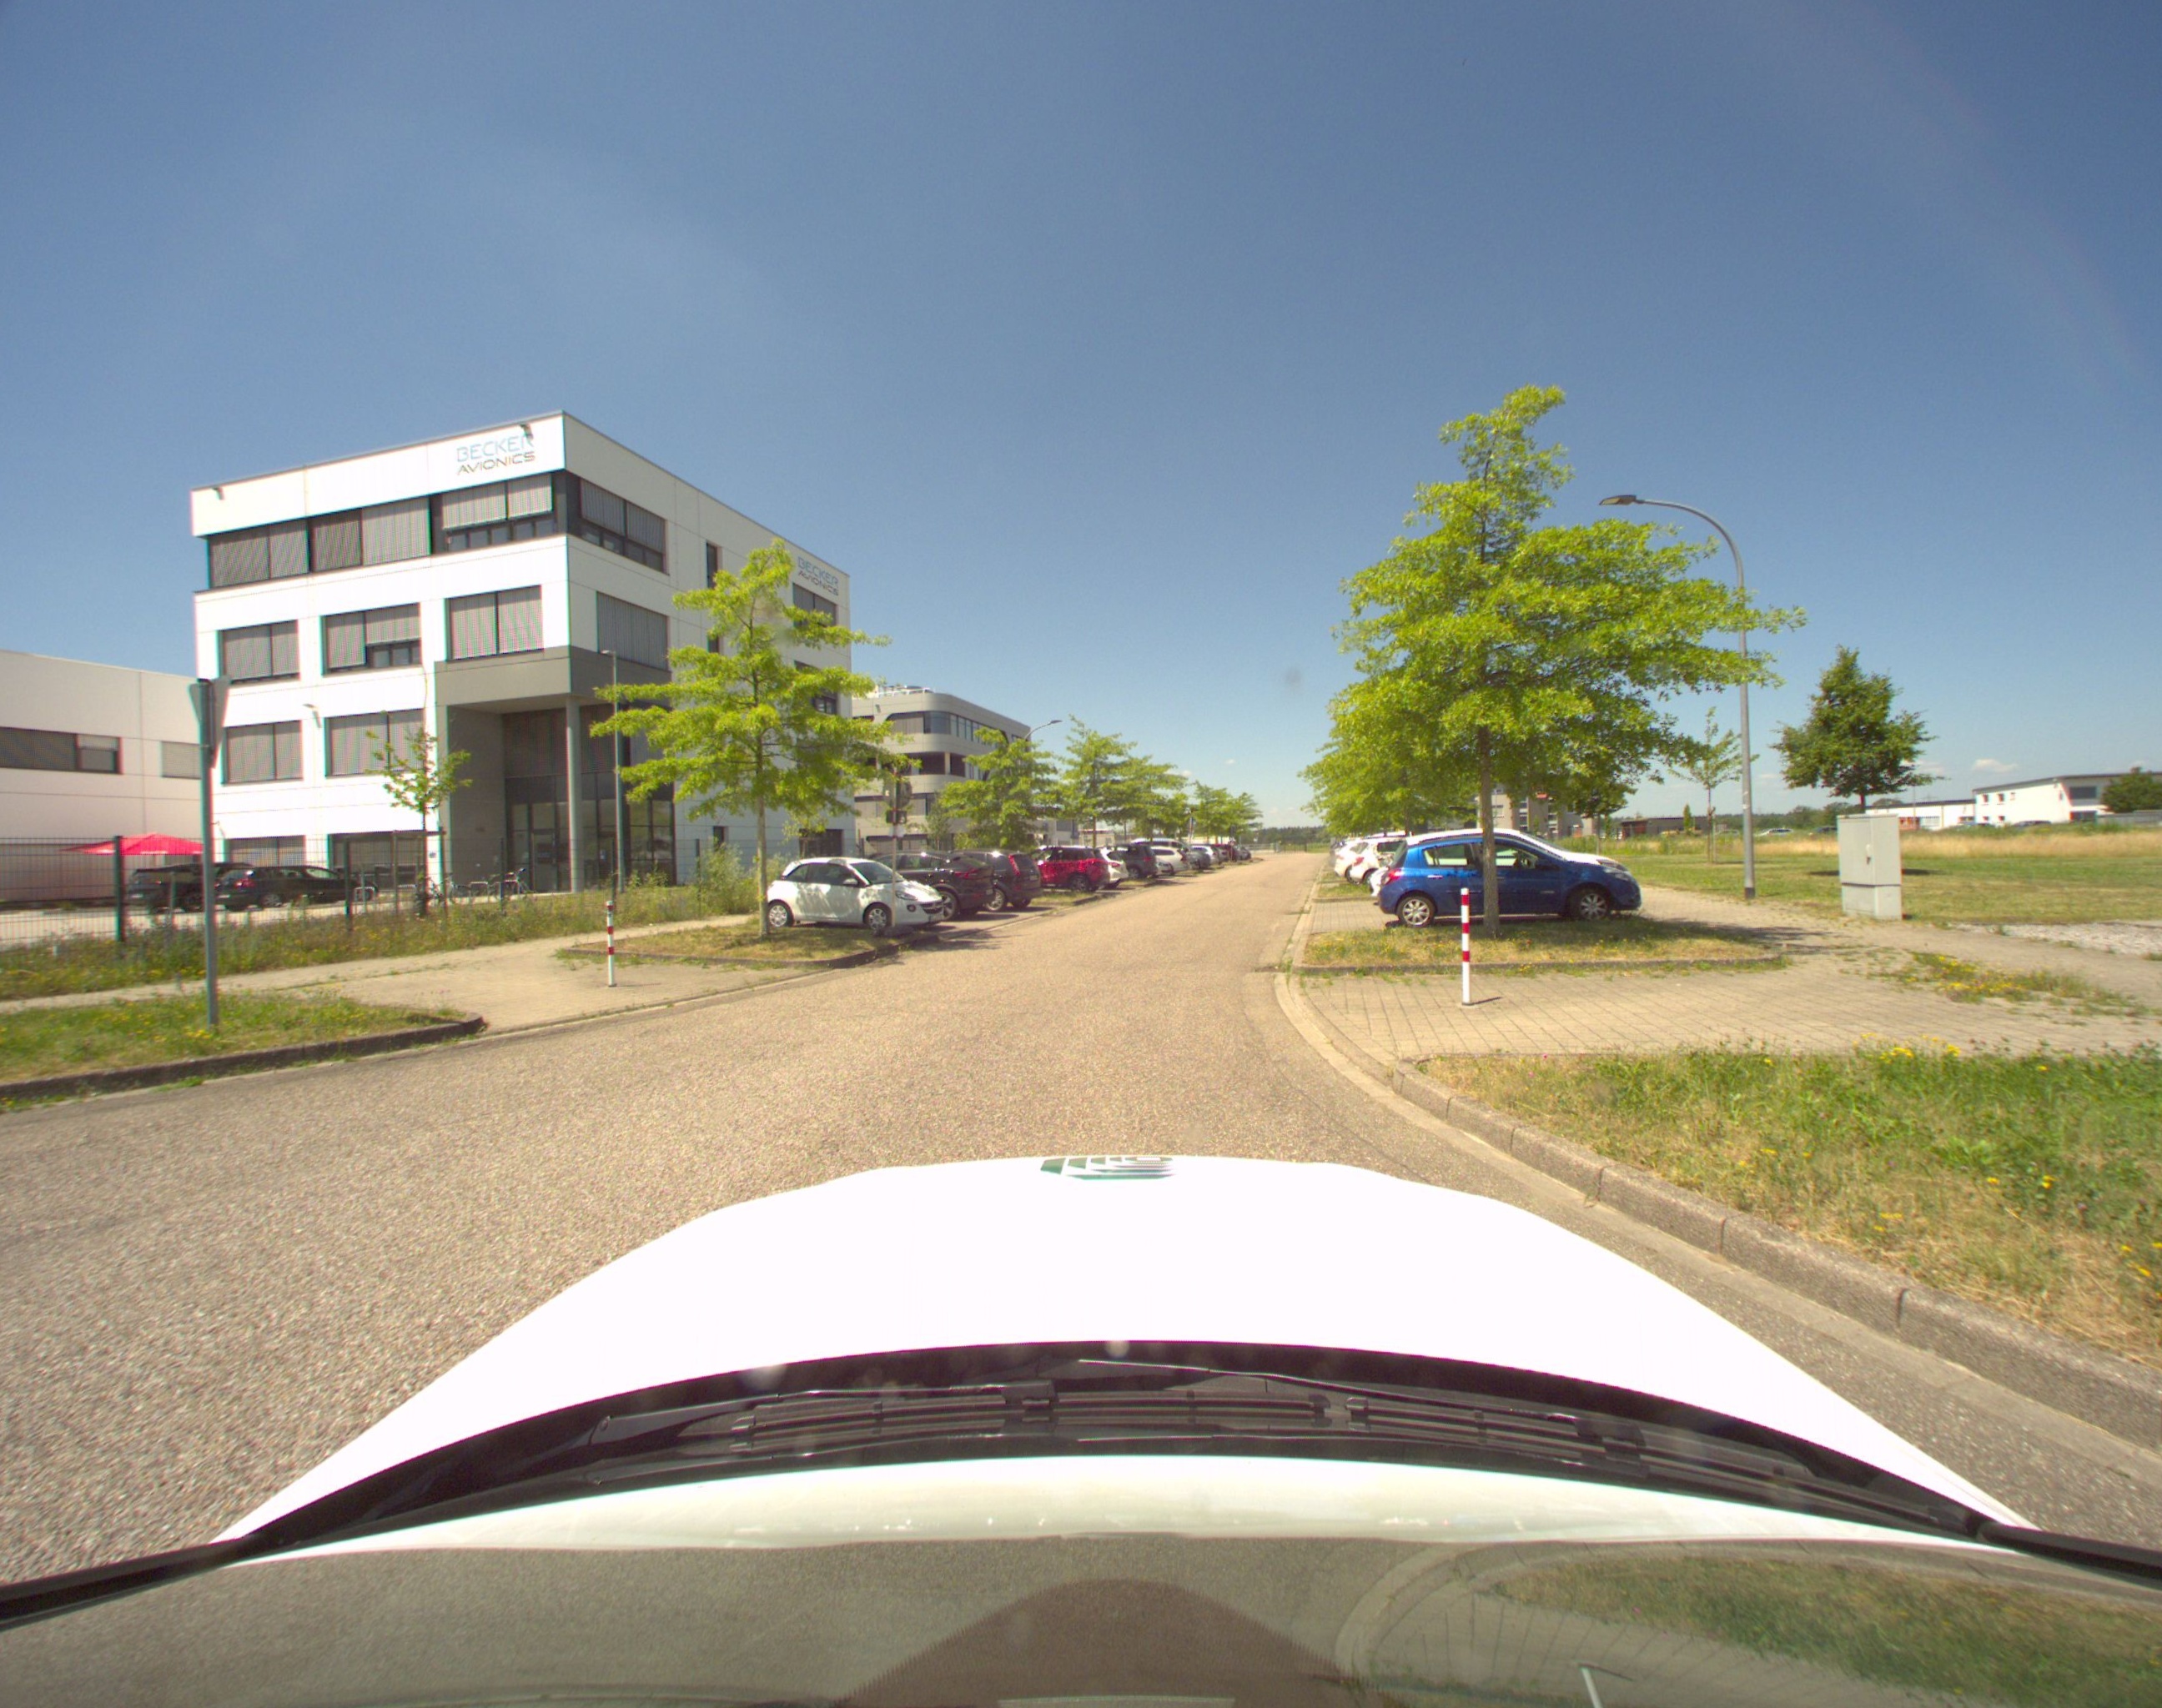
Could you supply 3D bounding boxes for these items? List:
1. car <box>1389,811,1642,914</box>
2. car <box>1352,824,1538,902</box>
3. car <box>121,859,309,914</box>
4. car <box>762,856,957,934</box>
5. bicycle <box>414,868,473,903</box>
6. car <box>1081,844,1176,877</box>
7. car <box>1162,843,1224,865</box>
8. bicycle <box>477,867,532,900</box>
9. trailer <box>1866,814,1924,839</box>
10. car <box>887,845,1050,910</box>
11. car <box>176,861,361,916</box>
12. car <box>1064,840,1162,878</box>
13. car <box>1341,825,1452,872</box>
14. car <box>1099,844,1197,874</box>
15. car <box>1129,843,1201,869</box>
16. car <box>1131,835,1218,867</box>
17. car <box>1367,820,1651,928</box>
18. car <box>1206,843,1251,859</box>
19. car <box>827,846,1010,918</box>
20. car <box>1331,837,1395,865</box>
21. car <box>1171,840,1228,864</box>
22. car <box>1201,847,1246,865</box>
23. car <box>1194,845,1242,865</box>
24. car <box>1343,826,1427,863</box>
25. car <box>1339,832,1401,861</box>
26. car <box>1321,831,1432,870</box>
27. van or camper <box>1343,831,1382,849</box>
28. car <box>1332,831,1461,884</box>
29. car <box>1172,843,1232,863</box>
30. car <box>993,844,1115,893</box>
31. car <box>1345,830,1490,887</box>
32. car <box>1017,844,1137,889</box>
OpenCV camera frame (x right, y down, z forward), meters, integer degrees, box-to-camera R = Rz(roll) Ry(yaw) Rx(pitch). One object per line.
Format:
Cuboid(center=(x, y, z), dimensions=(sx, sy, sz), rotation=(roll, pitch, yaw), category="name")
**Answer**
Cuboid(center=(8.309, 0.184, 15.972), dimensions=(4.074, 1.650, 1.784), rotation=(-4, 0, 22), category="car")
Cuboid(center=(8.269, 0.201, 18.817), dimensions=(3.593, 1.463, 1.616), rotation=(-4, 0, 12), category="car")
Cuboid(center=(-29.698, 1.065, 28.112), dimensions=(1.762, 1.684, 4.017), rotation=(-2, 0, 16), category="car")
Cuboid(center=(-4.538, 0.779, 16.853), dimensions=(3.477, 1.441, 1.735), rotation=(0, 1, 16), category="car")
Cuboid(center=(-18.580, 0.913, 23.729), dimensions=(1.580, 0.982, 0.464), rotation=(-2, 0, 15), category="bicycle")
Cuboid(center=(2.279, 0.287, 38.791), dimensions=(4.279, 1.473, 1.734), rotation=(0, 1, 15), category="car")
Cuboid(center=(7.734, -0.005, 56.188), dimensions=(4.008, 1.461, 1.610), rotation=(1, 0, 14), category="car")
Cuboid(center=(-18.024, 0.922, 25.474), dimensions=(1.580, 0.982, 0.464), rotation=(-2, 0, 15), category="bicycle")
Cuboid(center=(90.976, -3.032, 91.104), dimensions=(3.957, 2.600, 2.242), rotation=(-2, 0, 16), category="trailer")
Cuboid(center=(-2.960, 0.573, 21.601), dimensions=(3.876, 1.592, 1.735), rotation=(0, 1, 16), category="car")
Cuboid(center=(-27.210, 1.108, 27.471), dimensions=(1.762, 1.602, 4.017), rotation=(-2, 0, 16), category="car")
Cuboid(center=(1.461, 0.205, 36.696), dimensions=(4.086, 1.634, 1.735), rotation=(0, 1, 16), category="car")
Cuboid(center=(12.697, -0.199, 32.985), dimensions=(4.014, 1.625, 1.701), rotation=(-3, -1, 17), category="car")
Cuboid(center=(3.420, 0.217, 41.075), dimensions=(4.679, 1.447, 1.865), rotation=(0, 1, 14), category="car")
Cuboid(center=(4.922, 0.102, 47.614), dimensions=(3.938, 1.484, 1.772), rotation=(1, 1, 17), category="car")
Cuboid(center=(5.770, -0.181, 50.288), dimensions=(5.029, 1.891, 2.007), rotation=(0, 1, 18), category="car")
Cuboid(center=(7.051, 0.344, 13.855), dimensions=(3.961, 1.490, 1.737), rotation=(-4, 0, 21), category="car")
Cuboid(center=(13.816, -0.302, 76.206), dimensions=(4.047, 1.424, 1.881), rotation=(0, 0, 13), category="car")
Cuboid(center=(-3.816, 0.609, 19.348), dimensions=(3.811, 1.593, 1.836), rotation=(0, 1, 13), category="car")
Cuboid(center=(20.110, -0.207, 58.162), dimensions=(4.141, 1.696, 1.790), rotation=(-3, -1, 16), category="car")
Cuboid(center=(8.518, -0.151, 58.391), dimensions=(3.960, 1.678, 1.783), rotation=(1, 0, 12), category="car")
Cuboid(center=(12.177, 0.195, 69.582), dimensions=(3.631, 1.508, 1.737), rotation=(0, 0, 13), category="car")
Cuboid(center=(11.313, 0.087, 67.099), dimensions=(3.708, 1.621, 1.825), rotation=(0, 0, 17), category="car")
Cuboid(center=(17.426, -0.508, 46.929), dimensions=(4.368, 1.830, 1.804), rotation=(-3, -1, 18), category="car")
Cuboid(center=(19.628, -0.511, 55.465), dimensions=(3.845, 1.678, 1.790), rotation=(-3, -1, 17), category="car")
Cuboid(center=(13.830, -0.156, 38.415), dimensions=(4.683, 1.561, 1.920), rotation=(-3, -1, 13), category="car")
Cuboid(center=(37.774, -1.857, 109.422), dimensions=(4.898, 2.163, 2.009), rotation=(-2, 0, 16), category="van or camper")
Cuboid(center=(10.405, 0.127, 26.951), dimensions=(3.801, 1.553, 1.789), rotation=(-2, 1, 22), category="car")
Cuboid(center=(9.096, -0.083, 61.110), dimensions=(4.160, 1.480, 1.720), rotation=(1, 0, 17), category="car")
Cuboid(center=(-0.903, 0.443, 27.848), dimensions=(3.810, 1.592, 1.734), rotation=(0, 1, 15), category="car")
Cuboid(center=(9.988, 0.137, 24.474), dimensions=(3.804, 1.524, 1.787), rotation=(-2, 0, 17), category="car")
Cuboid(center=(-0.132, 0.428, 30.461), dimensions=(4.138, 1.513, 1.816), rotation=(1, 2, 18), category="car")
